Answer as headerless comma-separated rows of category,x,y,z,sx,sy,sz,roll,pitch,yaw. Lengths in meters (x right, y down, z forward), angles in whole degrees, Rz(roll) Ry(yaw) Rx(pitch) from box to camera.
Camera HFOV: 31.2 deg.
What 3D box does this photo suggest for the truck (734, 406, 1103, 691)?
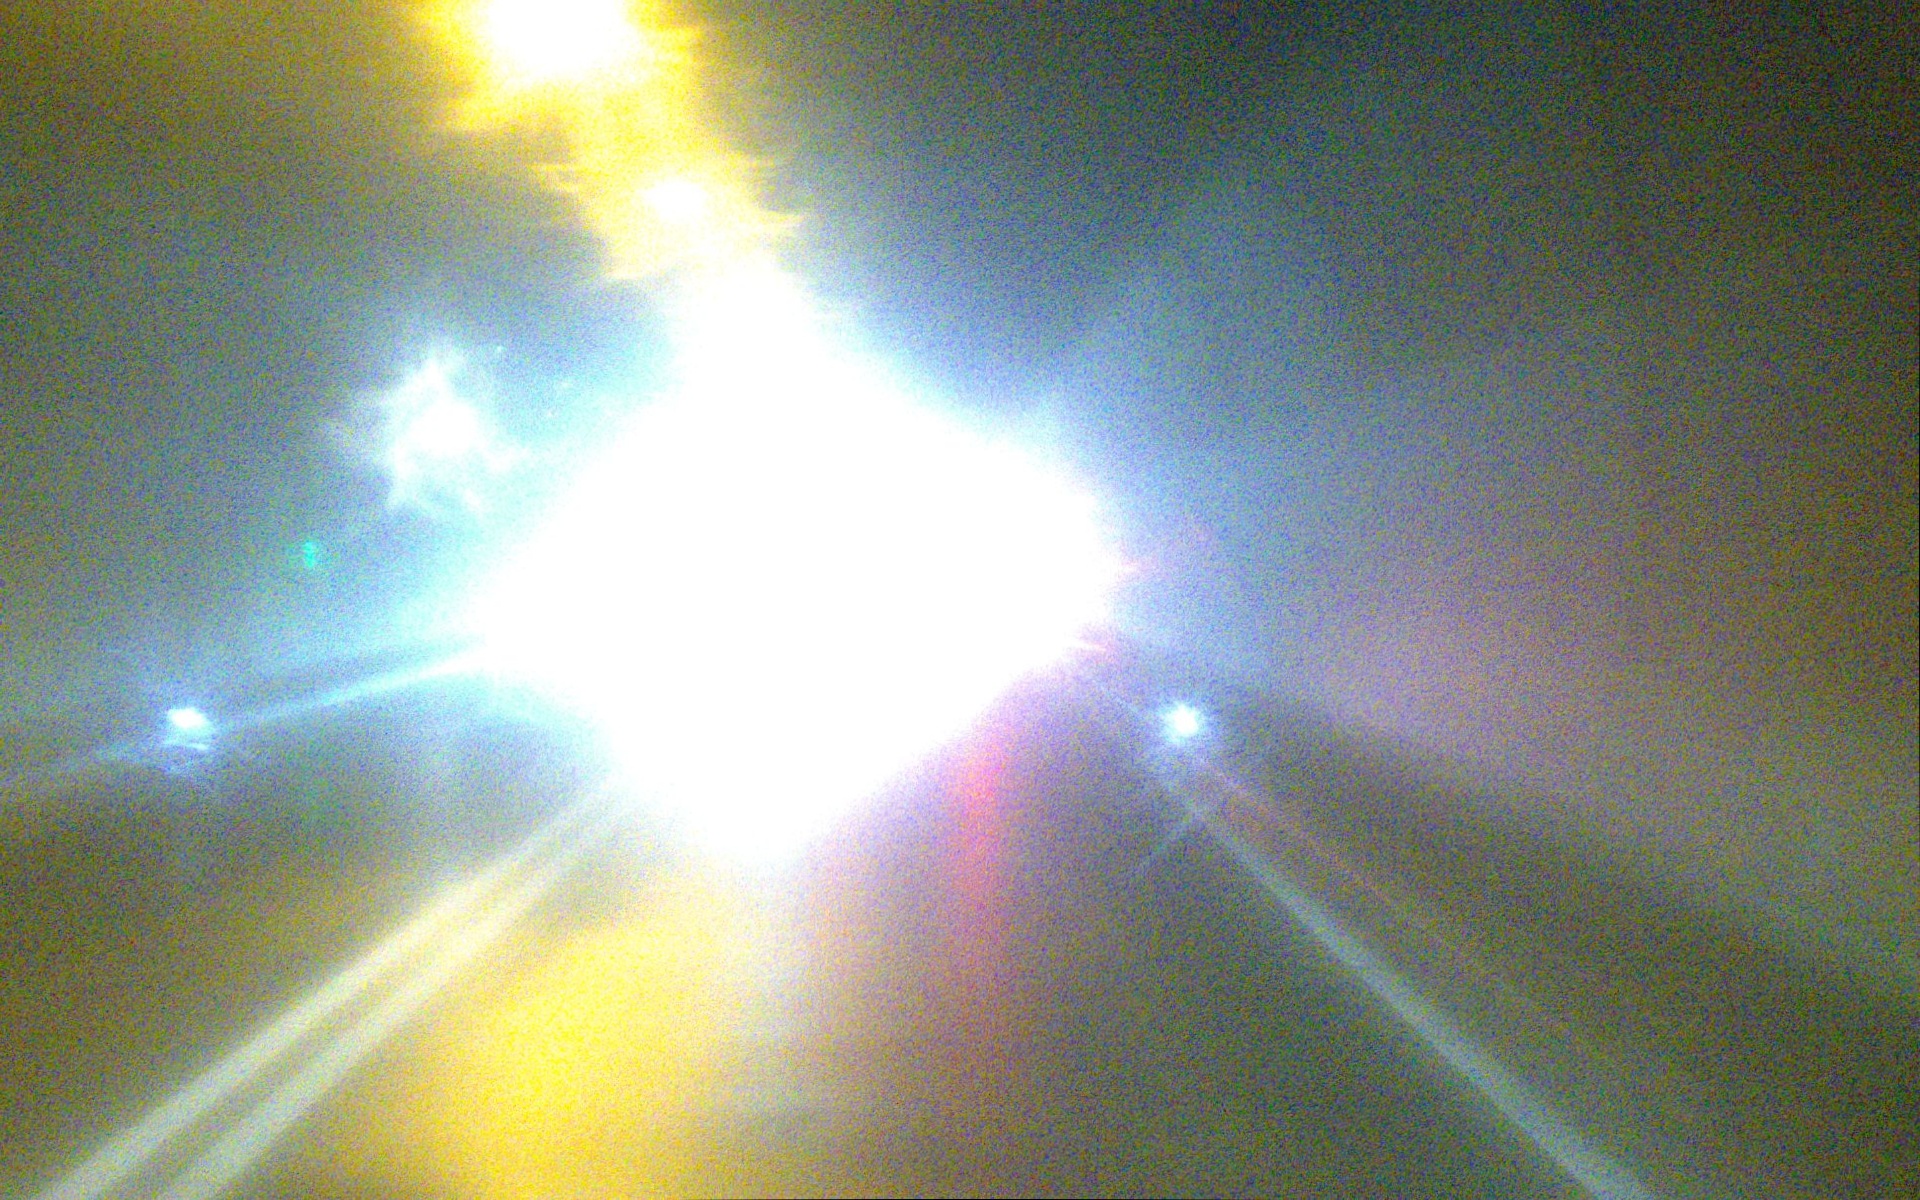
truck,-0.439,-0.589,38.185,3.535,2.684,8.956,-2,1,0
